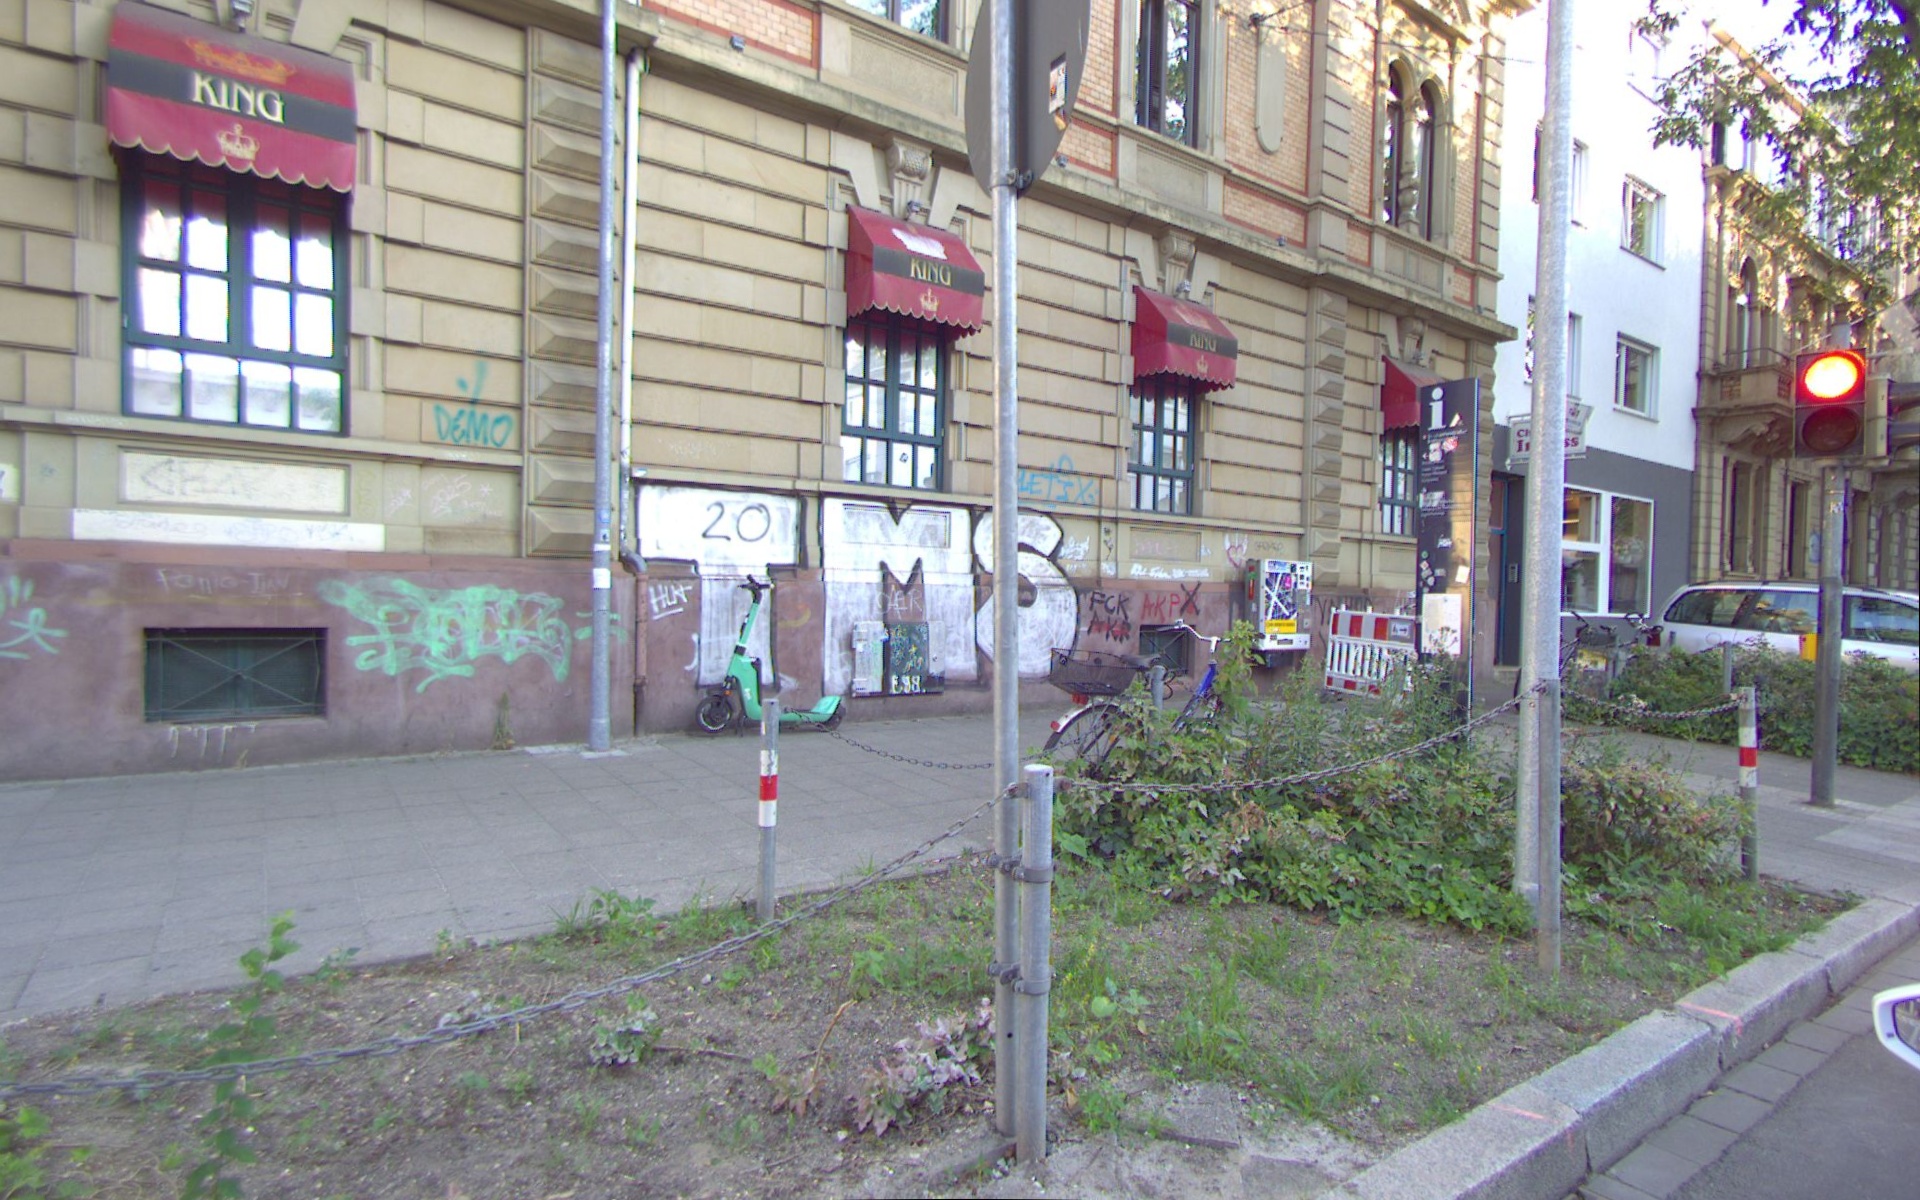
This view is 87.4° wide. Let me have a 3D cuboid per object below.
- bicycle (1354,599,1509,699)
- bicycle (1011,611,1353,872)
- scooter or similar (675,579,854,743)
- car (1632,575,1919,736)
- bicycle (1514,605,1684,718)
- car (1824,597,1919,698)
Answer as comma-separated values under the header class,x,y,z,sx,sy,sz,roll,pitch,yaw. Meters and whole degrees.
class,x,y,z,sx,sy,sz,roll,pitch,yaw
bicycle,6.263,0.620,13.258,2.537,1.218,0.632,1,0,-34
bicycle,1.259,0.658,5.404,2.080,1.169,0.507,0,3,-36
scooter or similar,-1.510,0.457,7.758,1.269,1.184,0.437,1,2,-23
car,11.413,0.647,12.694,1.816,1.859,4.514,1,0,-37
bicycle,7.697,0.692,12.043,2.607,1.202,0.729,1,2,-35
car,17.645,0.837,16.816,1.814,1.711,4.519,1,0,-34
